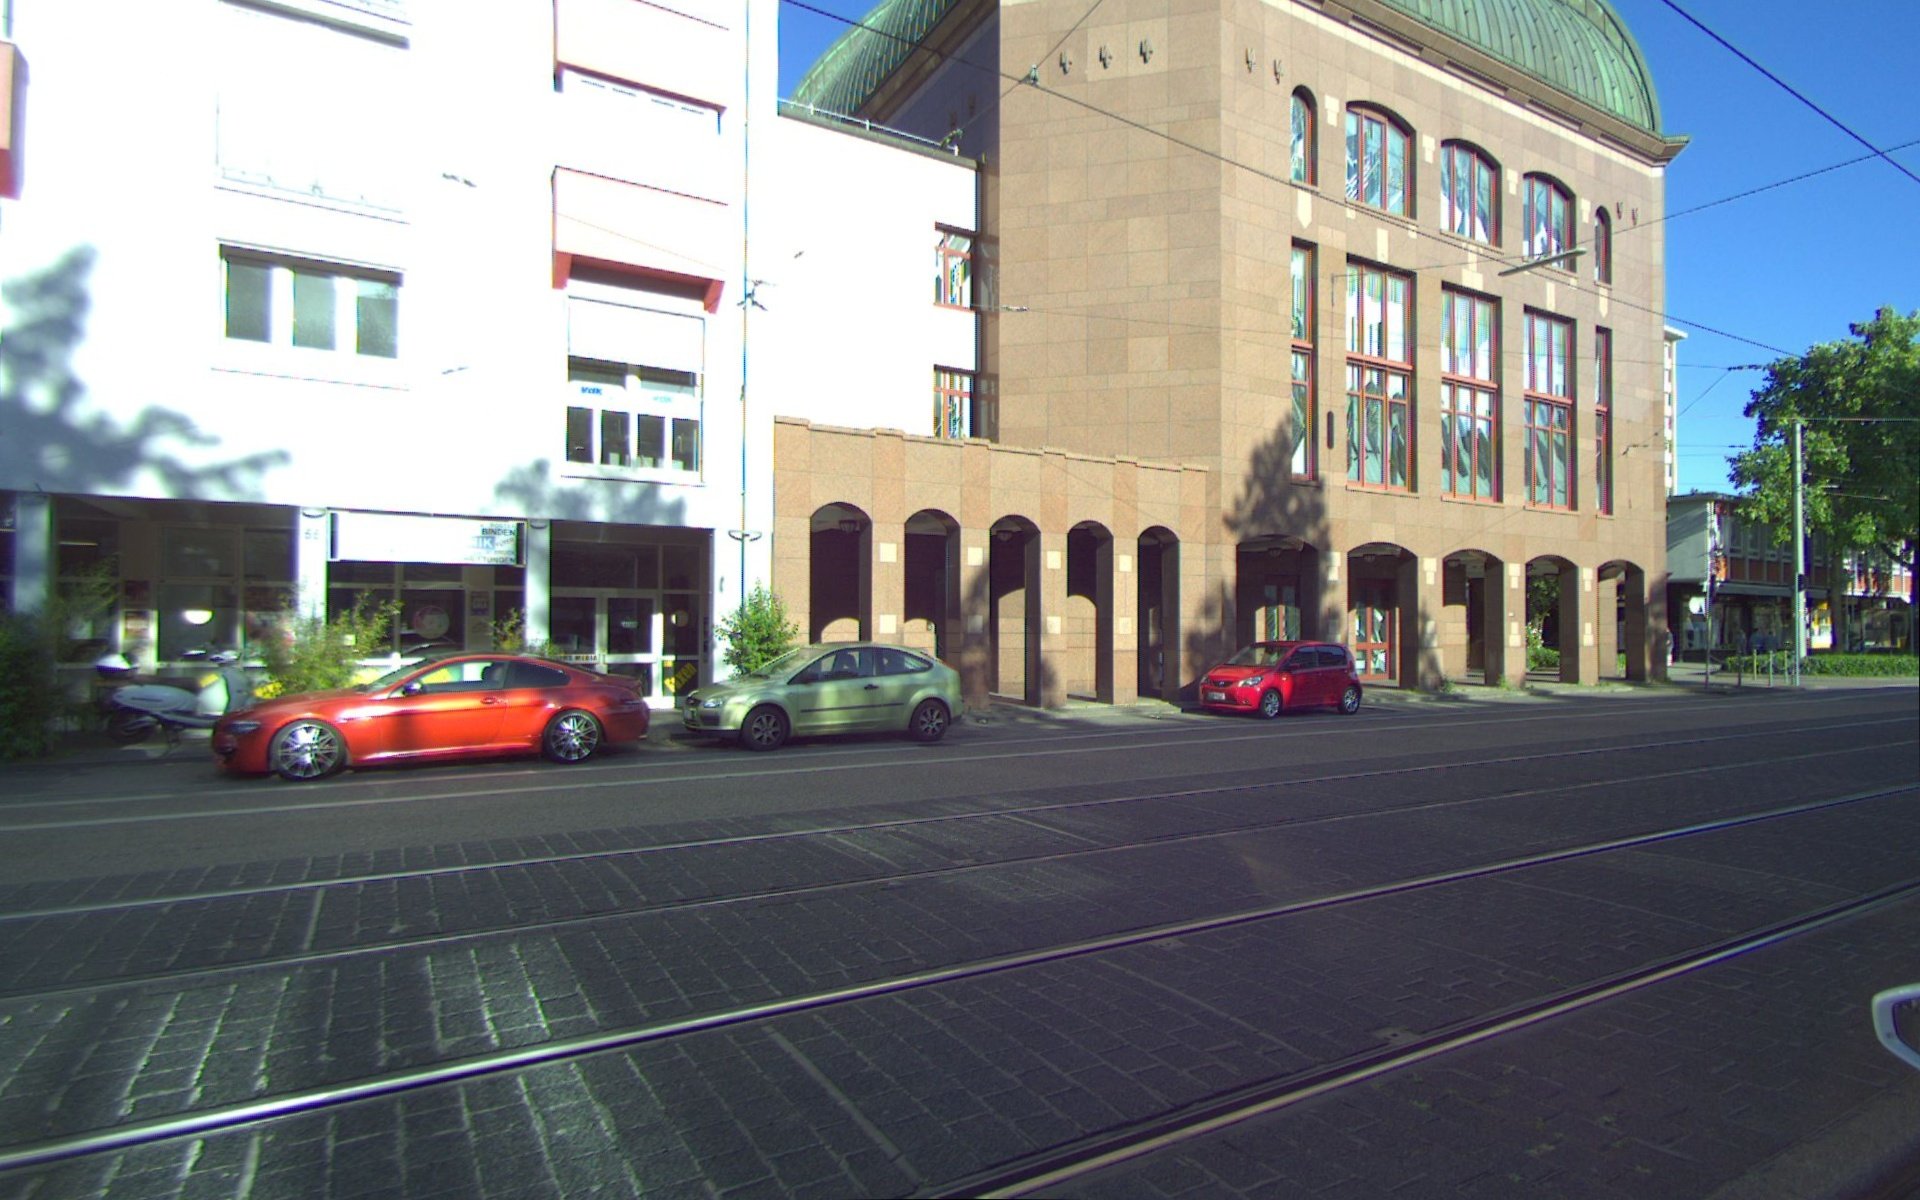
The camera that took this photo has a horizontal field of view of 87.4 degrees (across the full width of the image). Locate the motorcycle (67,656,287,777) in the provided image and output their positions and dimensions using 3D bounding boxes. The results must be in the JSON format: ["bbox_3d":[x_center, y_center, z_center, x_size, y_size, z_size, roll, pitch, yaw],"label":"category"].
[{"bbox_3d":[-9.470,1.374,12.258,2.058,1.315,0.516,0,0,-31],"label":"motorcycle"}]

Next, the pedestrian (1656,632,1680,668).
[{"bbox_3d":[34.204,2.421,48.546,0.697,1.716,0.523,-1,-2,-6],"label":"pedestrian"}]

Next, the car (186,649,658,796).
[{"bbox_3d":[-6.368,1.352,12.349,4.766,1.343,1.950,1,-1,-32],"label":"car"}]

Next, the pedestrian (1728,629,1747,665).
[{"bbox_3d":[40.599,2.445,52.444,0.666,1.871,0.623,0,0,-33],"label":"pedestrian"}]

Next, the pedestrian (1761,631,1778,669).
[{"bbox_3d":[39.677,2.463,49.203,0.583,1.826,0.541,0,0,-39],"label":"pedestrian"}]

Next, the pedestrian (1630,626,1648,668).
[{"bbox_3d":[34.215,2.349,50.615,0.591,2.093,0.669,0,0,15],"label":"pedestrian"}]

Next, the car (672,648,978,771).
[{"bbox_3d":[-1.959,1.516,14.977,4.240,1.488,1.661,1,0,-31],"label":"car"}]

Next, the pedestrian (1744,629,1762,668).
[{"bbox_3d":[39.201,2.368,49.661,0.533,1.897,0.586,0,0,-39],"label":"pedestrian"}]

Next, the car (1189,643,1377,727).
[{"bbox_3d":[6.480,1.624,20.086,3.578,1.441,1.651,0,0,-31],"label":"car"}]
